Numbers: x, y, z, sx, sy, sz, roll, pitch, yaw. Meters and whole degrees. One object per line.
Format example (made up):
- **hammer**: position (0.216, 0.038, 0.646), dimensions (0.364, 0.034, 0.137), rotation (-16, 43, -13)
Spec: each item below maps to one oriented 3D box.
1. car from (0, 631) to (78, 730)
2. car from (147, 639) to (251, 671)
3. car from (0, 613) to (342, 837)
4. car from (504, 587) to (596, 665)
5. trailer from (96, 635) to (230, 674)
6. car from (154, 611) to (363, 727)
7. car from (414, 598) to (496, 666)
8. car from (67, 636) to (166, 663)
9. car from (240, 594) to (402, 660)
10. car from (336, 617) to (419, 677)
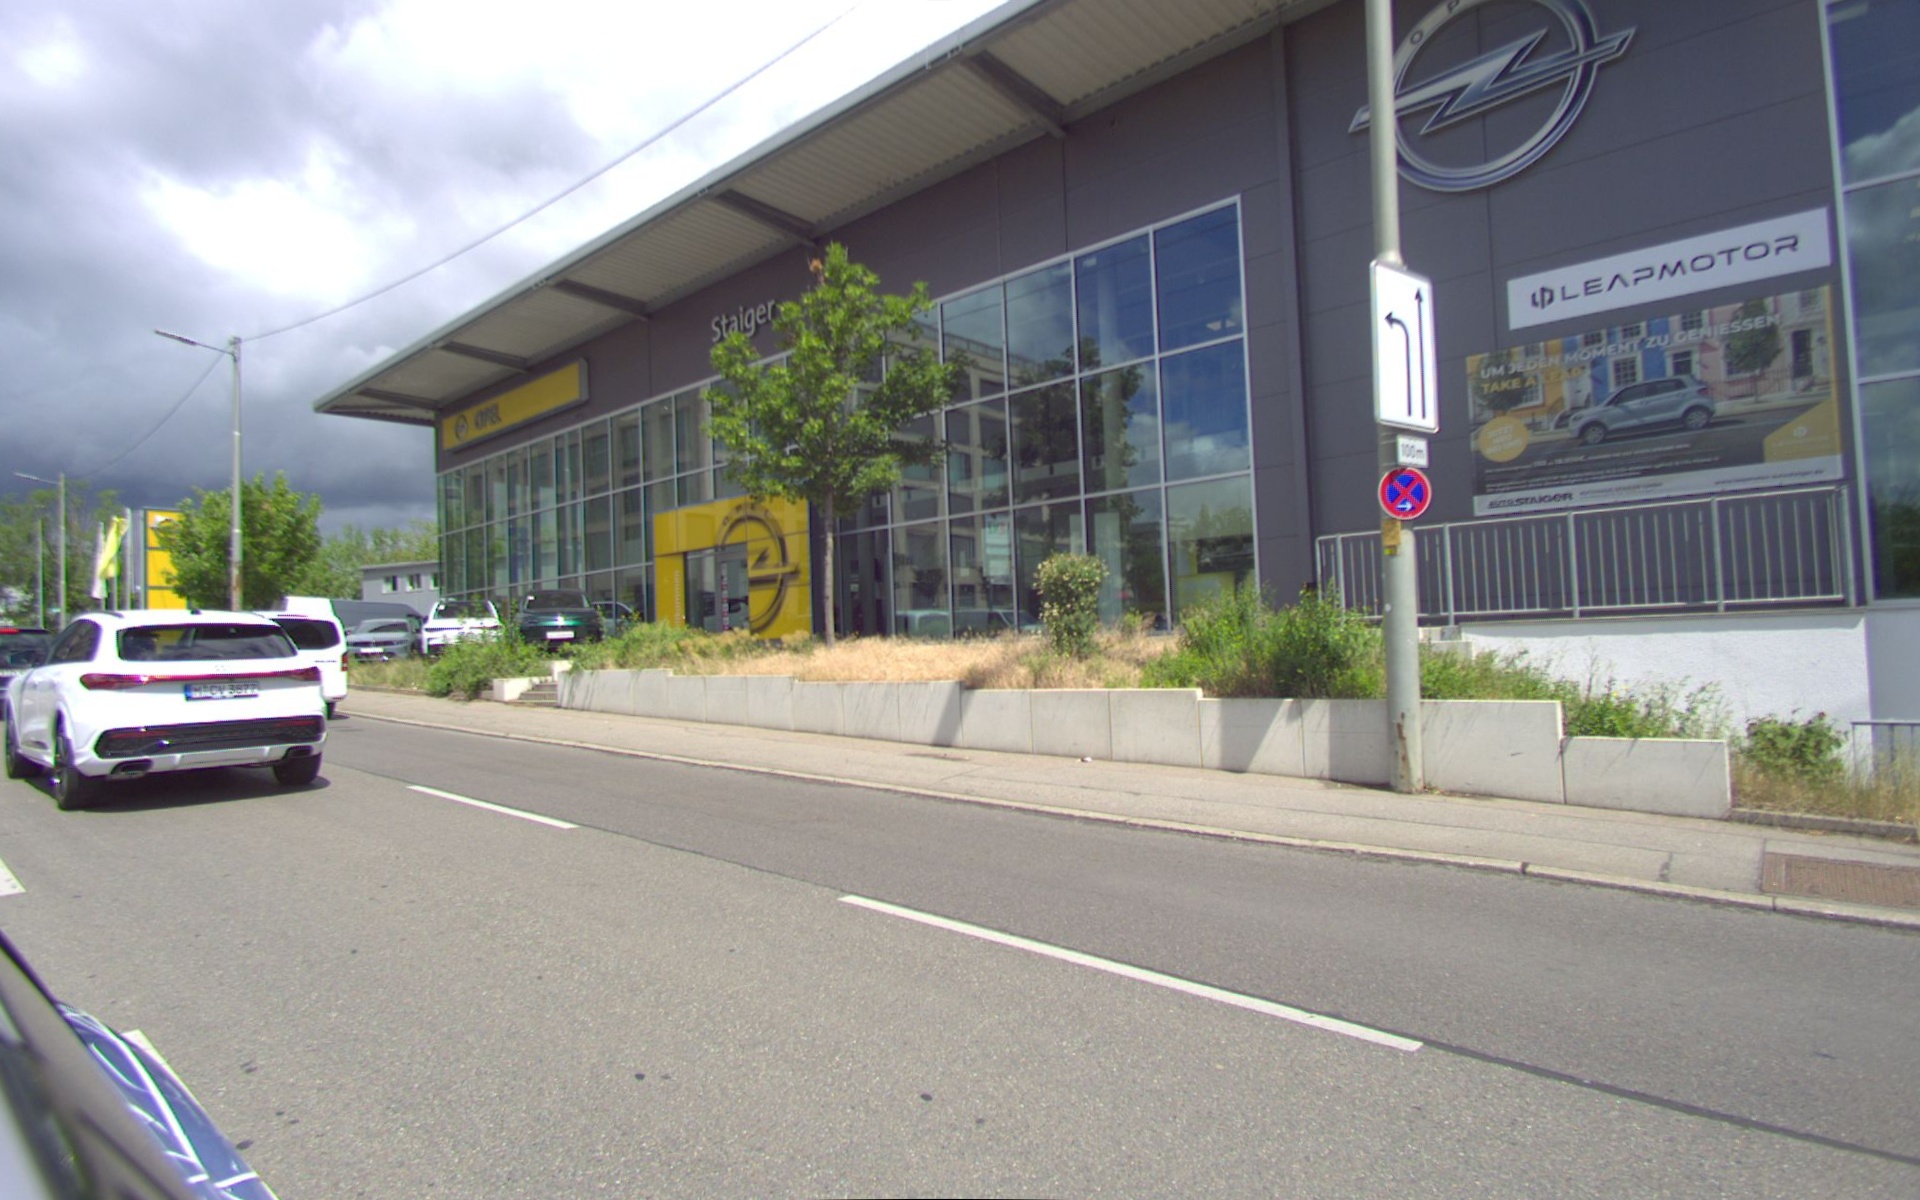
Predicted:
- **car**: position (-17.396, 1.395, 18.128), dimensions (4.105, 1.625, 1.774), rotation (-2, -2, 40)
- **car**: position (-35.597, 2.556, 47.408), dimensions (1.814, 1.420, 3.621), rotation (-2, -3, 42)
- **car**: position (-7.661, 0.977, 9.554), dimensions (4.413, 1.625, 1.899), rotation (-2, -2, 41)
- **car**: position (-9.333, 0.611, 23.171), dimensions (1.790, 1.625, 4.122), rotation (0, -2, -21)
- **trailer**: position (-38.901, 2.617, 49.515), dimensions (2.092, 1.765, 4.776), rotation (-2, -3, 37)
- **car**: position (-13.154, 1.233, 18.844), dimensions (5.196, 1.874, 1.899), rotation (-2, -4, 41)
- **car**: position (-12.972, 0.808, 26.156), dimensions (1.767, 1.625, 4.122), rotation (0, -2, -25)
- **car**: position (-50.289, 2.922, 60.390), dimensions (2.093, 1.493, 4.200), rotation (-2, -3, 38)
- **car**: position (-22.882, 0.968, 36.368), dimensions (2.177, 2.211, 4.475), rotation (-1, -2, 39)
- **car**: position (-16.981, 1.345, 29.659), dimensions (1.767, 1.625, 4.122), rotation (1, -2, -26)
